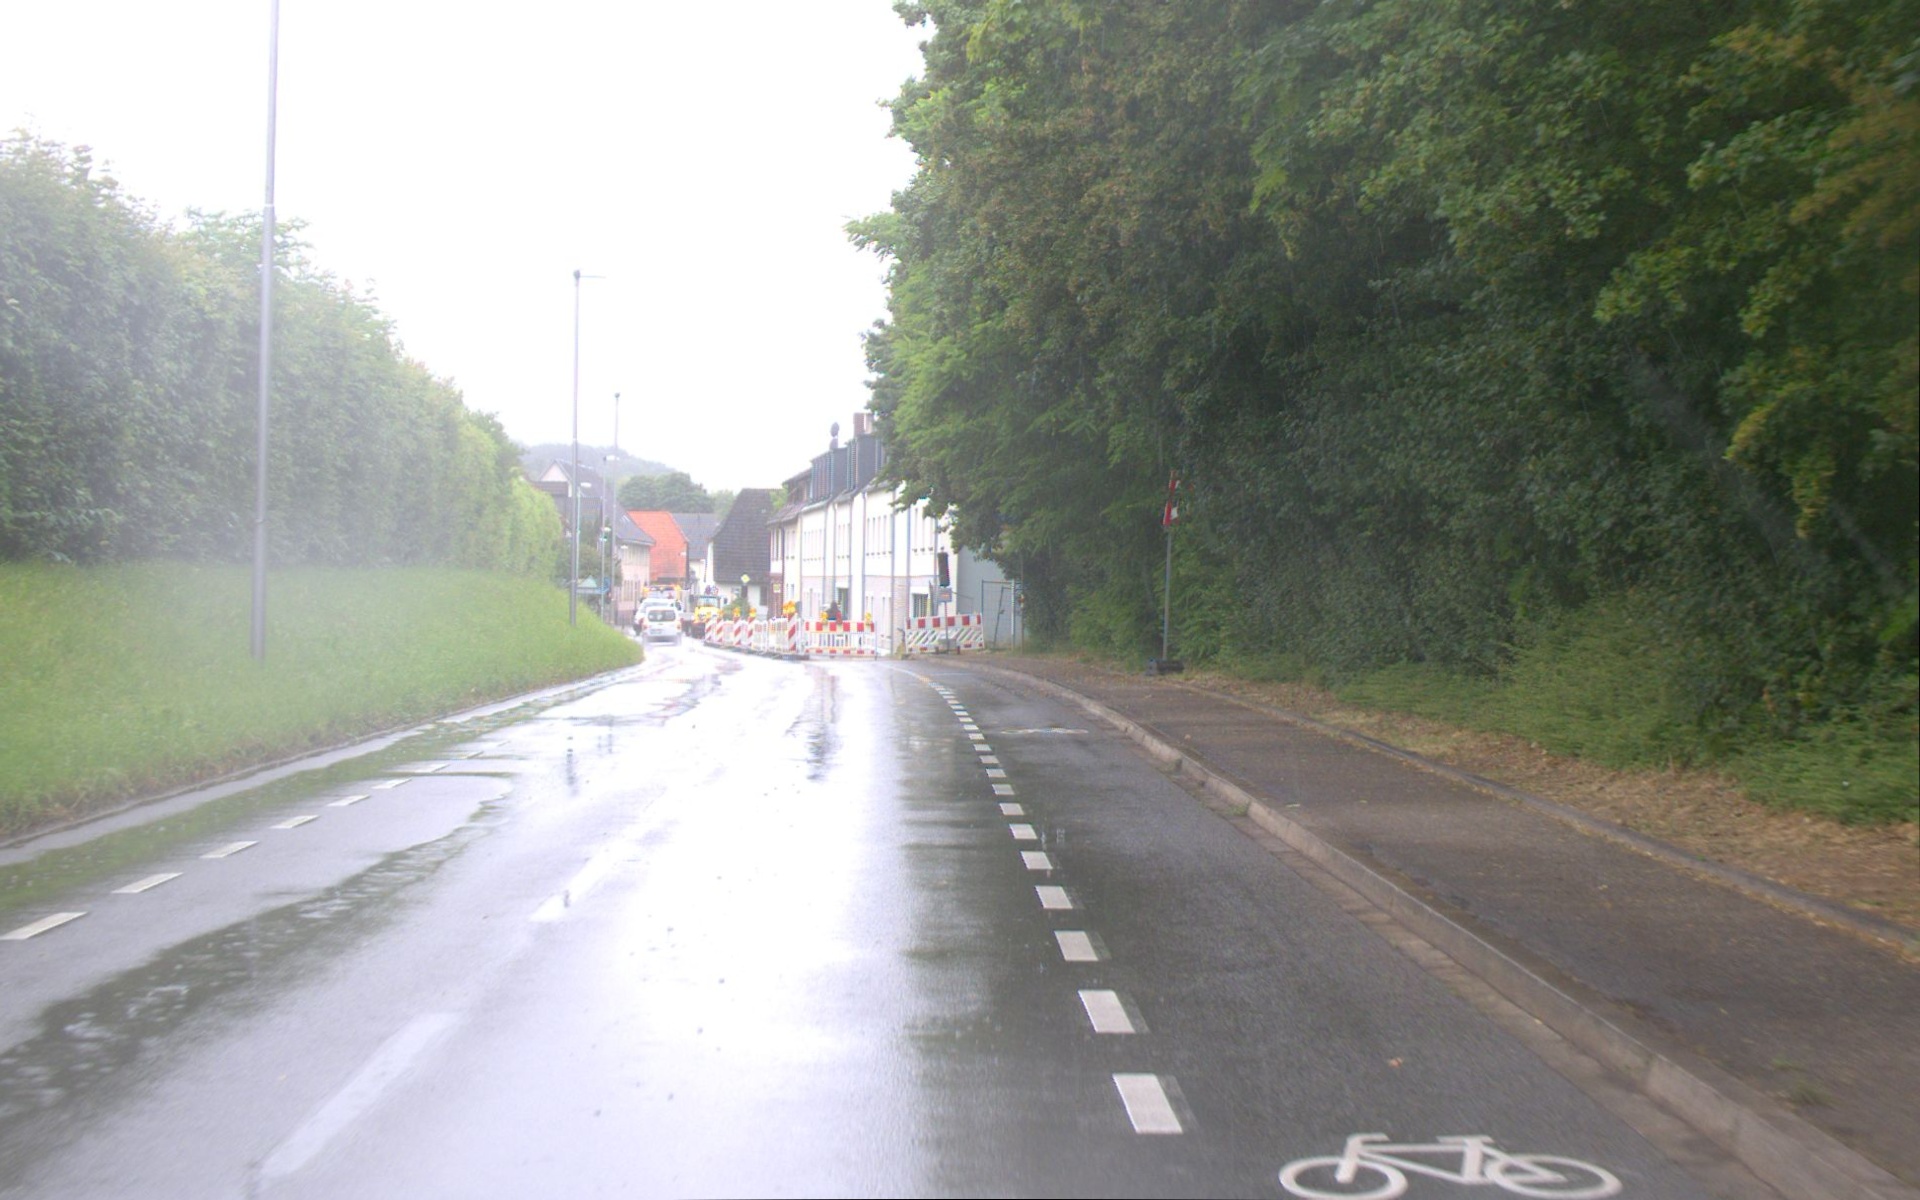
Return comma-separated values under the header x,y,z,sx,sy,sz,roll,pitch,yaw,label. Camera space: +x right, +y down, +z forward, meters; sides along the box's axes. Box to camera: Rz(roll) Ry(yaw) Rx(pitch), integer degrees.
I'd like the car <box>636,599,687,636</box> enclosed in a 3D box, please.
x,y,z,sx,sy,sz,roll,pitch,yaw,label
-13.946,0.785,160.355,1.993,1.605,4.001,0,1,-10,car
